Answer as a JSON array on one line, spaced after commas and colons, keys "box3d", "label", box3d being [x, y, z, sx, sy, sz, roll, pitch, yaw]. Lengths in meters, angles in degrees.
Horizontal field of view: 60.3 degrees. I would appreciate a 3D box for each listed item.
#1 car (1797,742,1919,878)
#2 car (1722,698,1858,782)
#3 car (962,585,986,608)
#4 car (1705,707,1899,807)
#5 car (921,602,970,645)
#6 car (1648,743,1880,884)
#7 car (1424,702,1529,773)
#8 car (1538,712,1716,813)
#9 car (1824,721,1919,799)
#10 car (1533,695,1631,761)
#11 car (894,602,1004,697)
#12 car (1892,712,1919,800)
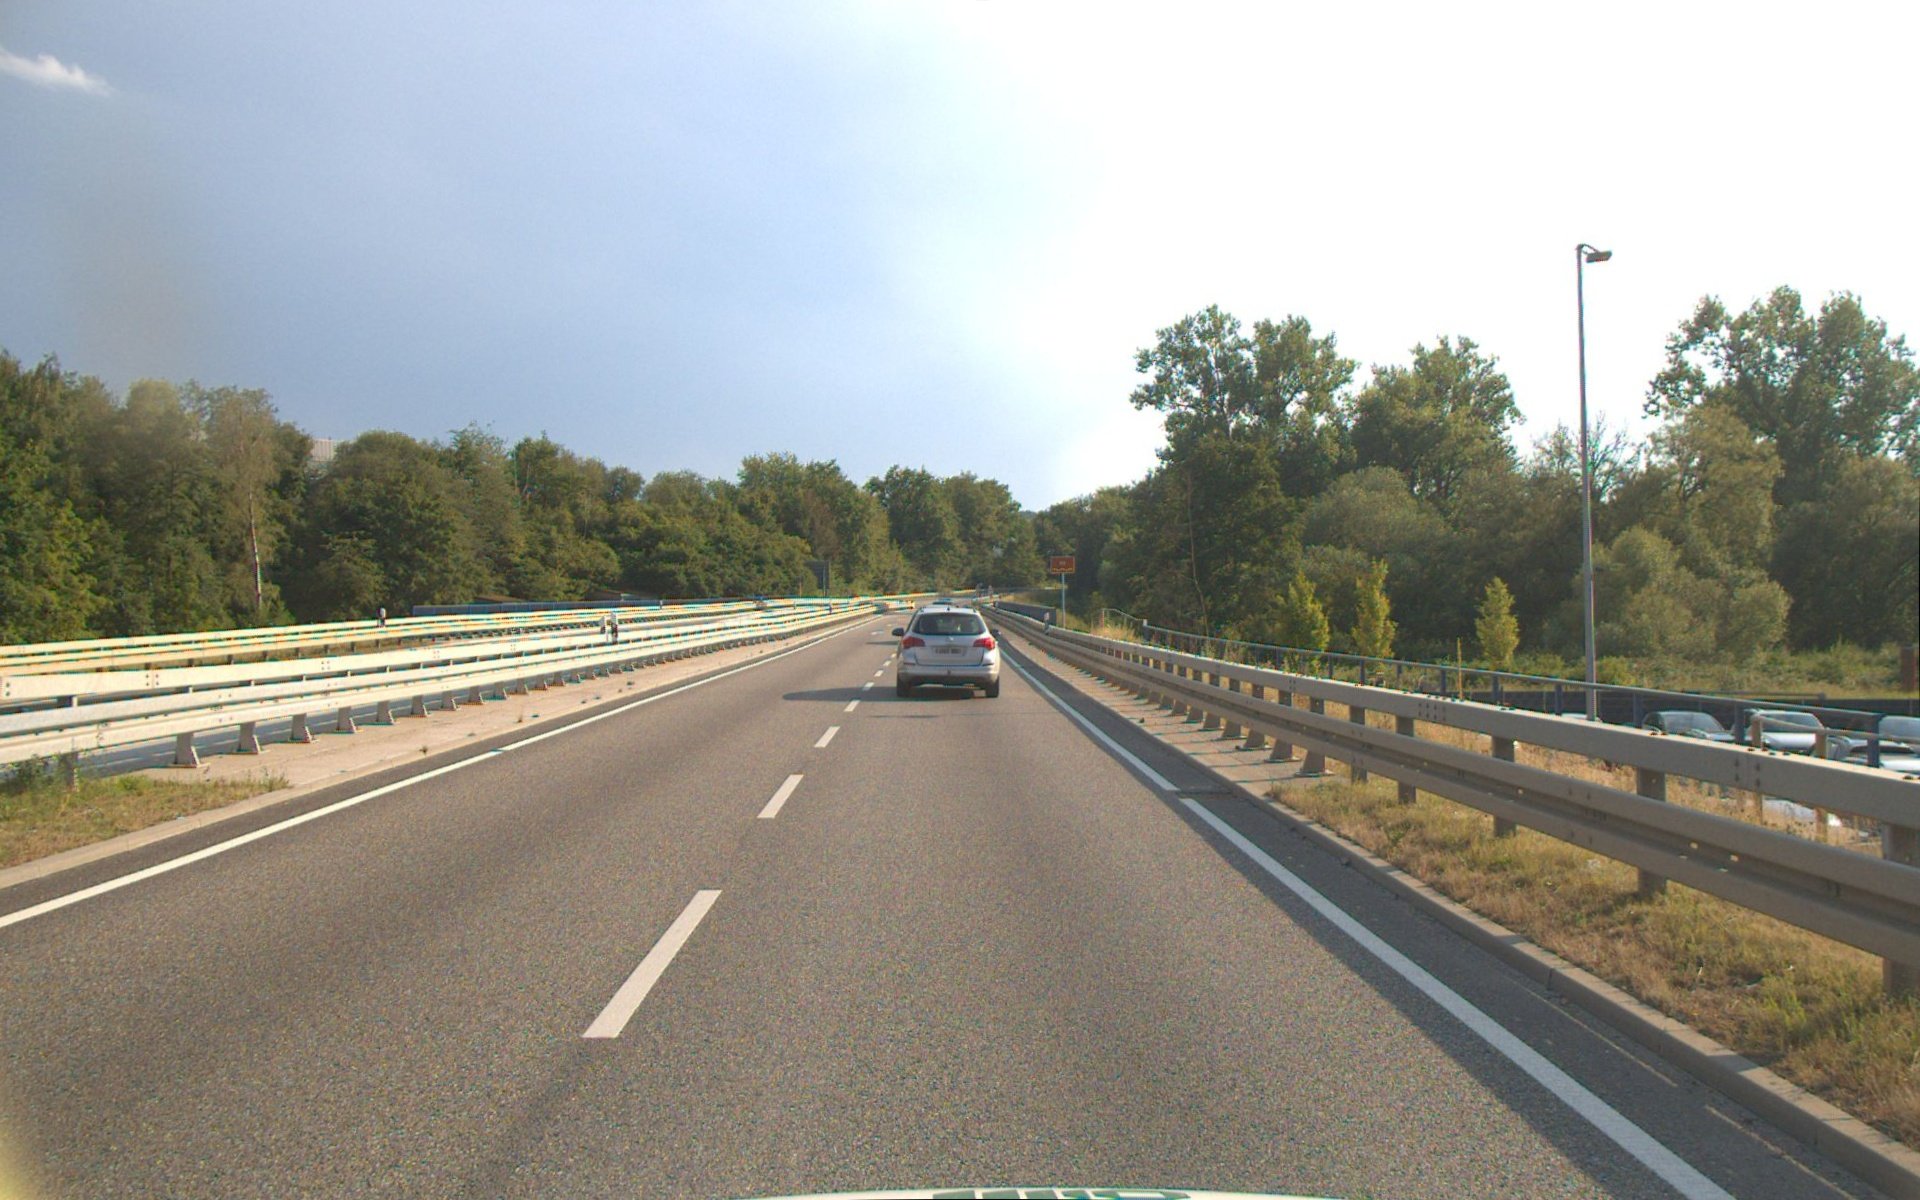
[{"box3d": [15.104, 3.280, 26.126, 1.738, 1.713, 4.000, 1, 0, 0], "label": "car"}, {"box3d": [20.191, 3.368, 40.415, 1.911, 1.670, 4.247, 1, 0, 11], "label": "car"}, {"box3d": [1.244, -0.285, 149.732, 1.953, 2.049, 3.999, 1, 0, -2], "label": "car"}, {"box3d": [15.650, 2.879, 30.975, 1.670, 1.490, 4.000, 1, 0, 1], "label": "car"}, {"box3d": [-0.561, 0.866, 62.479, 1.772, 1.512, 3.999, 1, 0, -1], "label": "car"}, {"box3d": [12.672, 3.322, 26.363, 1.738, 1.713, 4.000, 1, 0, 0], "label": "car"}, {"box3d": [13.273, 3.502, 42.707, 1.670, 1.490, 4.002, 1, 0, 4], "label": "car"}, {"box3d": [12.384, 2.984, 30.982, 1.671, 1.490, 3.999, 1, 0, -1], "label": "car"}, {"box3d": [22.339, 3.791, 39.550, 1.911, 1.490, 4.003, 1, 0, 11], "label": "car"}, {"box3d": [15.921, 3.253, 42.499, 1.779, 1.378, 4.003, 1, 0, 12], "label": "car"}, {"box3d": [-0.208, 0.813, 28.951, 1.772, 1.512, 3.999, 1, 0, -1], "label": "car"}, {"box3d": [19.648, 3.112, 31.409, 1.670, 1.651, 4.357, 1, 0, 4], "label": "car"}]
